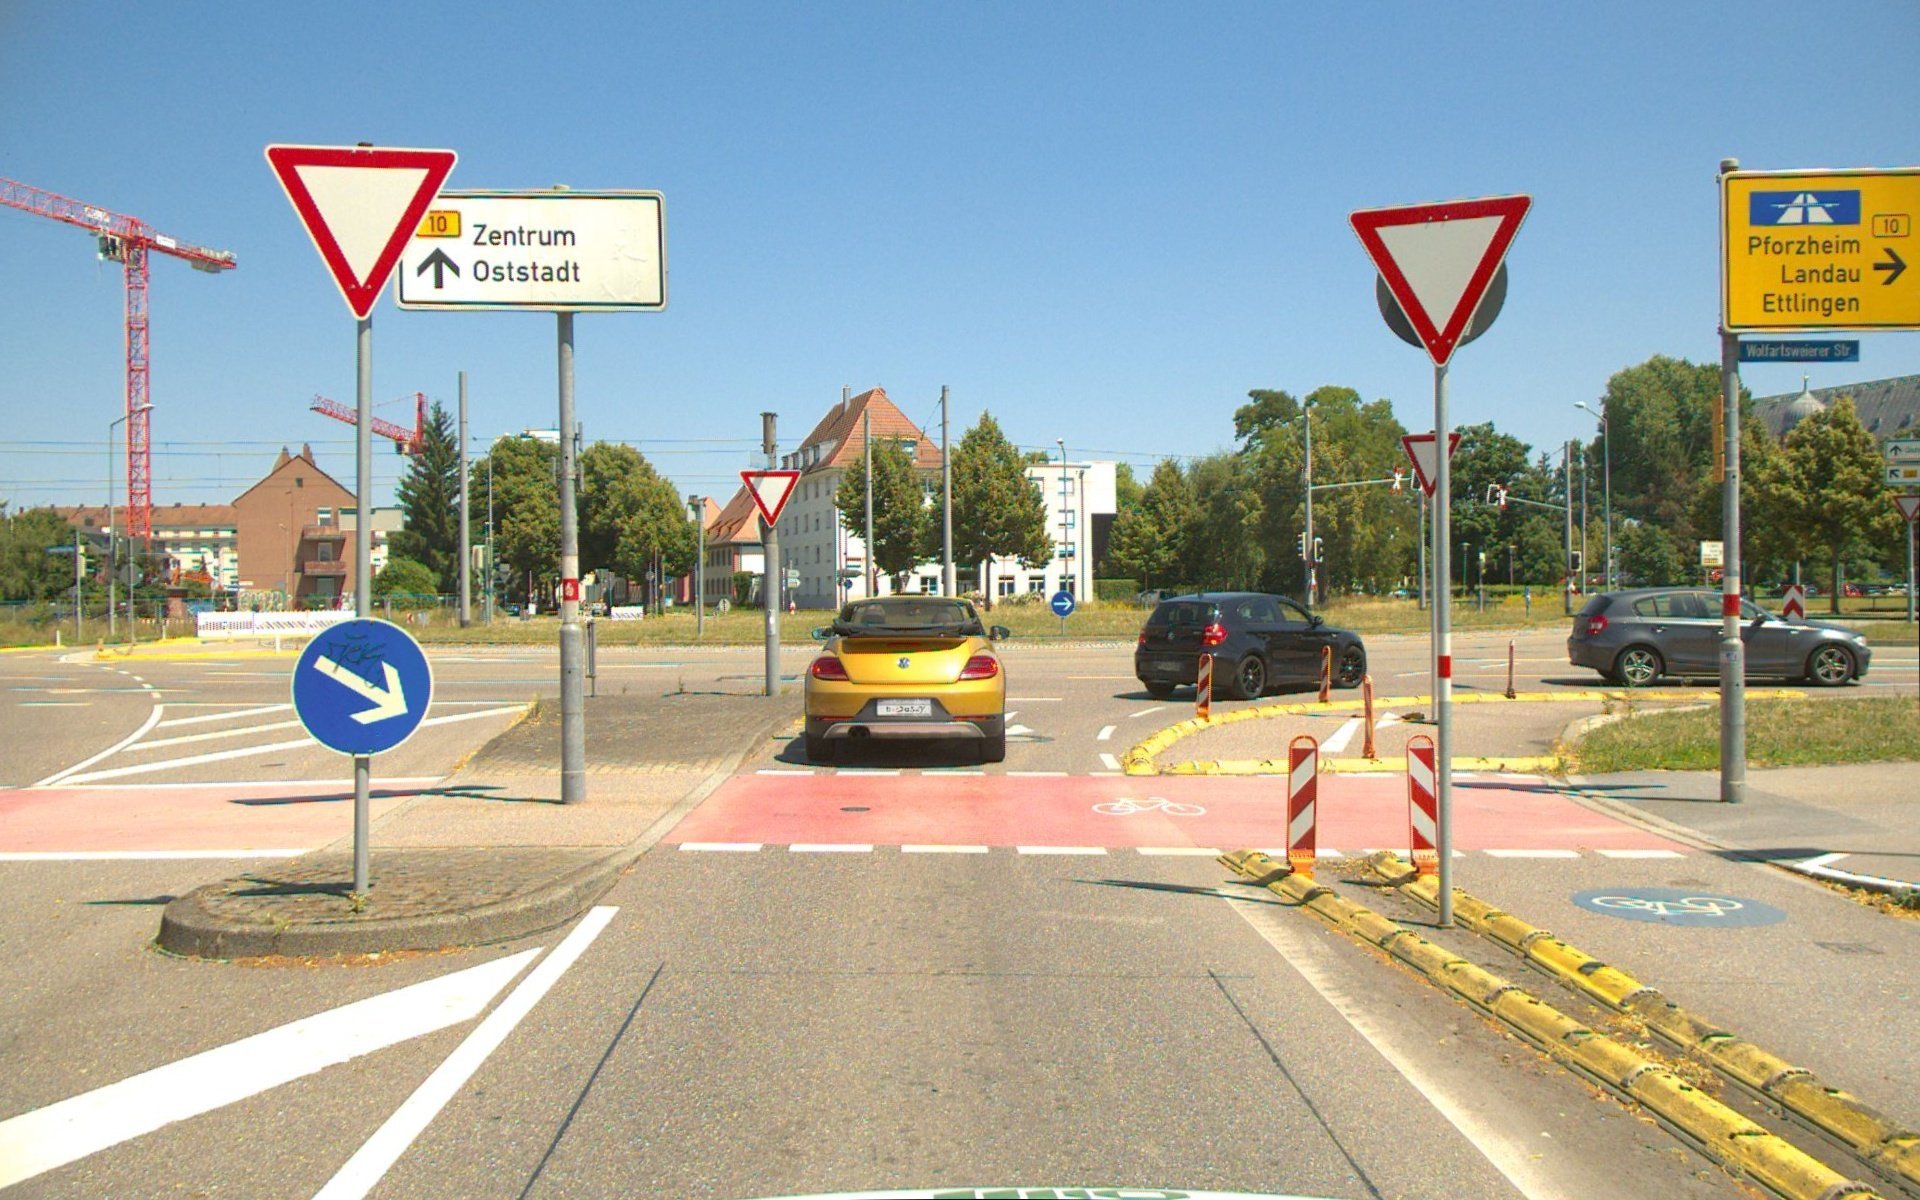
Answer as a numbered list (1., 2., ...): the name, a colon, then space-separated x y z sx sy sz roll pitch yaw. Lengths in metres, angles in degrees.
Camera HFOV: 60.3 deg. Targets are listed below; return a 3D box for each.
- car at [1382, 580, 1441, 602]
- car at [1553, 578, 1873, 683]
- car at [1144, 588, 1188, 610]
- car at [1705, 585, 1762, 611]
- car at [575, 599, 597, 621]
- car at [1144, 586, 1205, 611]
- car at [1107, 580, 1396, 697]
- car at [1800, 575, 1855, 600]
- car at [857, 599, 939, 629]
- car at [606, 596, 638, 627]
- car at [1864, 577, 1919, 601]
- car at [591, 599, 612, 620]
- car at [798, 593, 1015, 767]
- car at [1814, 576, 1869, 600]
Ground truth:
1. car: 34.457 -0.681 126.261 3.919 1.601 1.993 0 -1 35
2. car: 11.054 0.437 24.534 3.980 1.427 1.755 -1 1 9
3. car: 19.402 -0.095 155.467 3.902 2.049 2.001 0 -1 14
4. car: 63.770 -0.162 136.329 3.923 2.049 1.991 0 -1 38
5. car: -34.358 0.915 151.873 1.959 2.049 3.986 1 0 -14
6. car: 15.321 -0.084 118.132 3.919 1.713 1.993 1 0 -14
7. car: 4.159 0.475 23.425 3.953 1.465 1.781 -1 1 -35
8. car: 74.227 -1.058 141.570 3.923 2.049 1.991 0 -1 38
9. car: -3.187 0.724 85.195 3.902 1.490 2.002 0 0 9
10. car: -22.844 0.793 111.586 1.959 2.049 3.986 1 0 -14
11. car: 81.408 -0.970 144.516 1.985 2.049 3.934 1 -1 -44
12. car: -35.459 0.971 163.666 1.959 2.049 3.986 1 0 -14
13. car: -0.469 0.652 15.491 1.788 1.427 3.661 0 0 -1
14. car: 76.298 -1.028 143.164 3.923 2.049 1.991 0 -1 38
